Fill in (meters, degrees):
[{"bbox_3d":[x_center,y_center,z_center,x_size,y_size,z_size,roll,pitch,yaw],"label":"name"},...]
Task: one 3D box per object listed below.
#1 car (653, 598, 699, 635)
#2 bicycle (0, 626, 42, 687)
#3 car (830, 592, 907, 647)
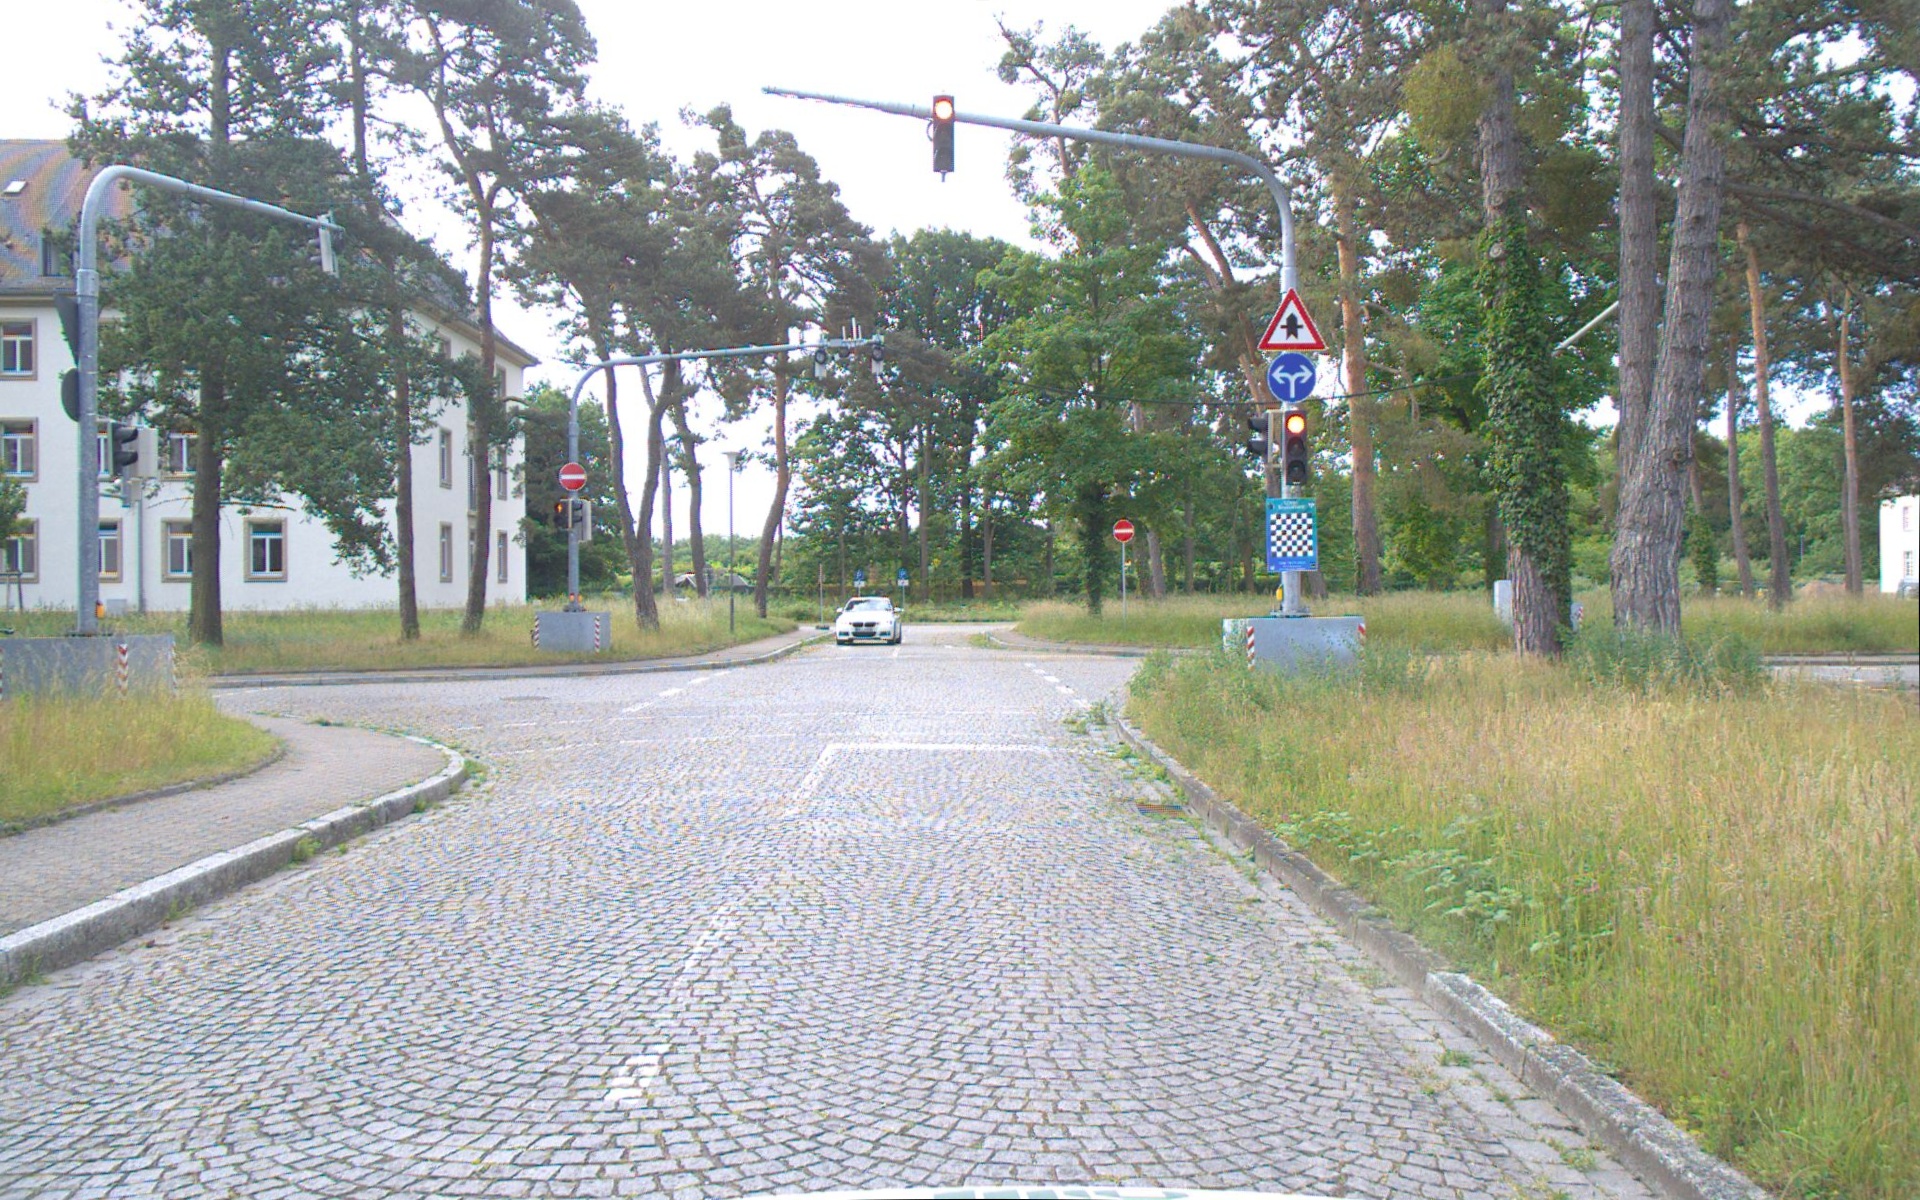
[{"bbox_3d":[-15.038,0.870,87.668,1.954,1.878,3.997,1,0,-4],"label":"car"},{"bbox_3d":[-17.418,1.023,29.786,1.435,1.084,0.516,-1,0,-3],"label":"bicycle"},{"bbox_3d":[-2.740,0.564,50.476,1.736,1.463,4.220,-3,0,4],"label":"car"}]
